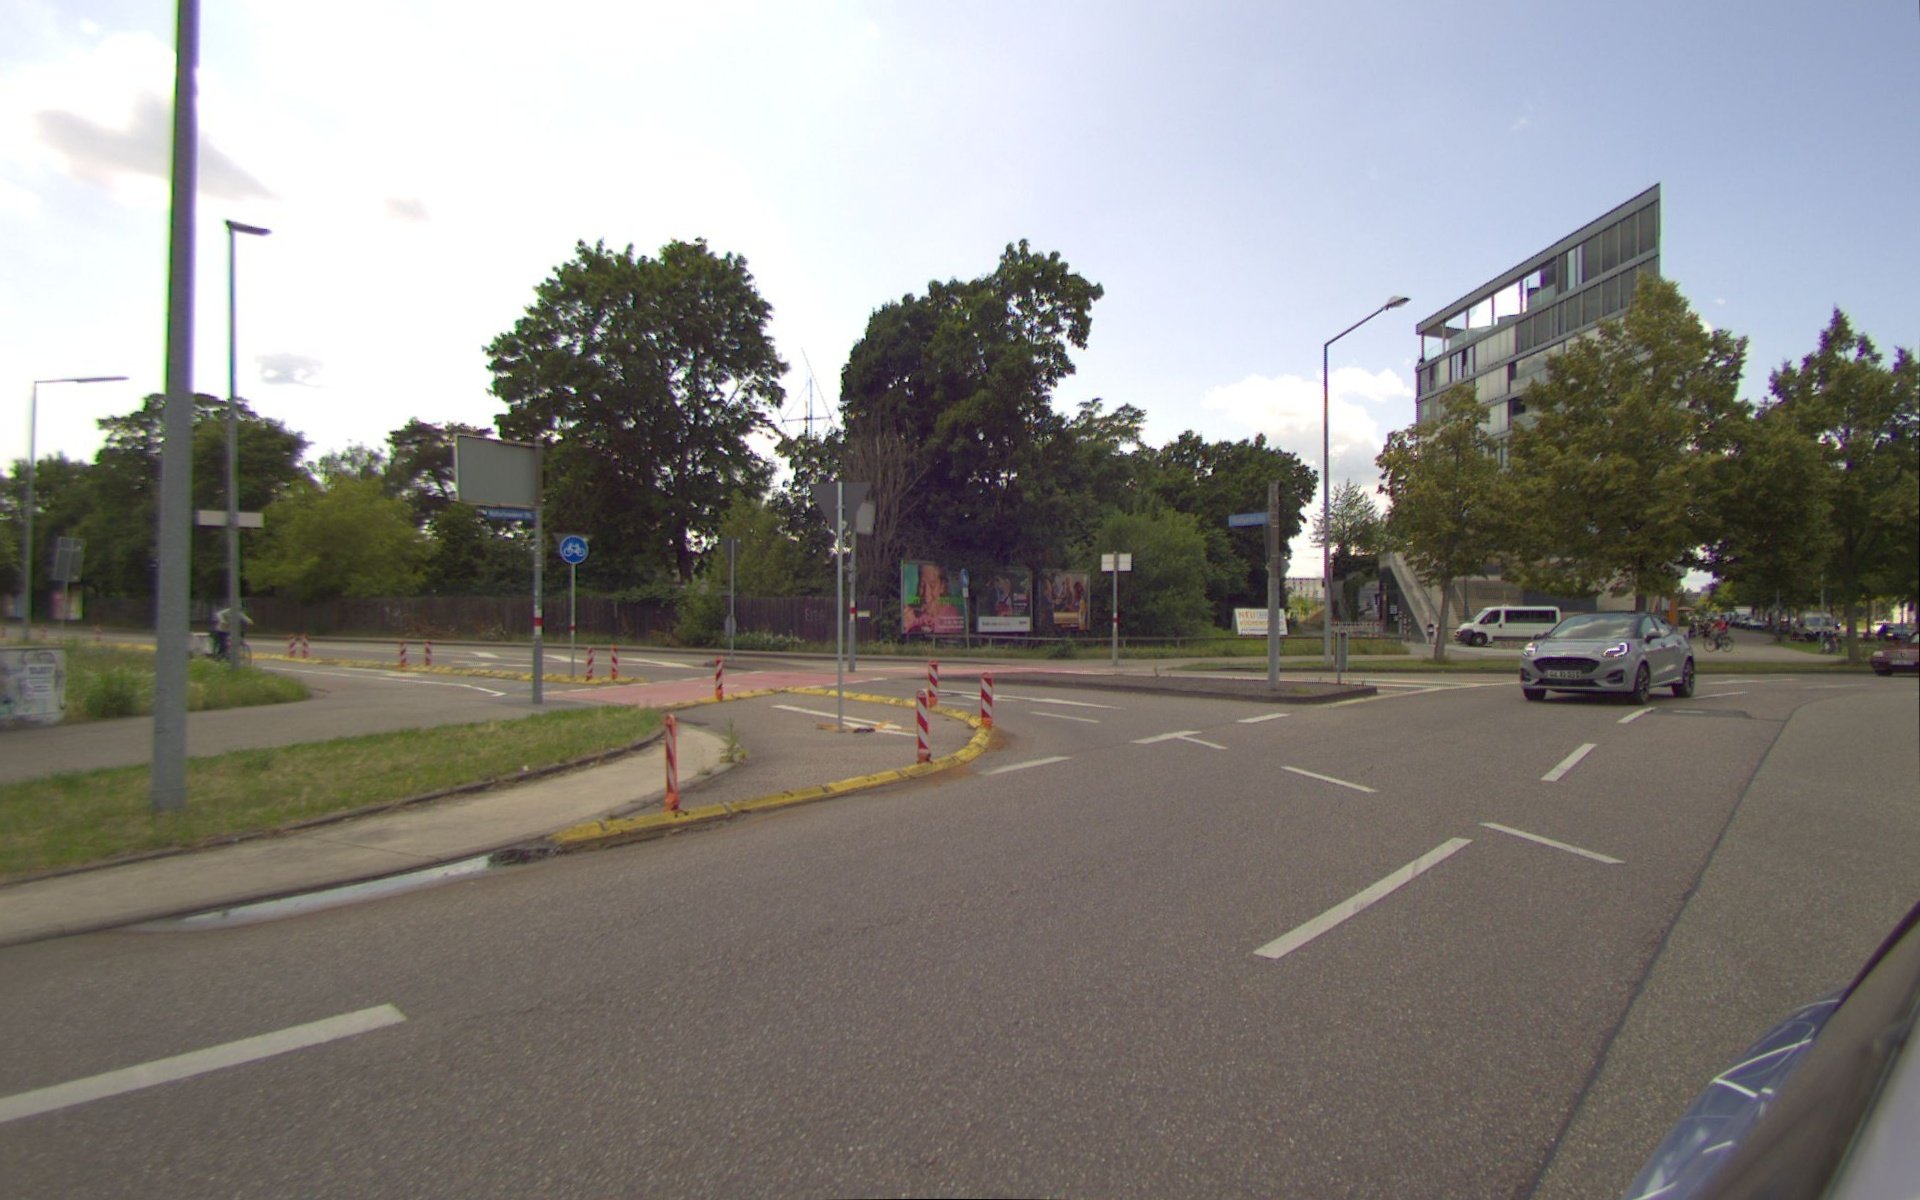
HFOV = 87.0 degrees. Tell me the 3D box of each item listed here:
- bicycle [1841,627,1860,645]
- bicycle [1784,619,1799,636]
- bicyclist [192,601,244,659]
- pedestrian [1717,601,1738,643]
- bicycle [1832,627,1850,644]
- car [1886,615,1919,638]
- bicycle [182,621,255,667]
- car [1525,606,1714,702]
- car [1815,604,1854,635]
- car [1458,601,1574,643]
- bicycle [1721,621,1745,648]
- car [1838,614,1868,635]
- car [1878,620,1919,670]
[{"bbox_3d":[42.651,1.699,48.490,0.355,0.837,1.458,-1,-2,29],"label":"bicycle"},{"bbox_3d":[56.779,1.877,69.115,0.512,1.102,1.729,0,-1,32],"label":"bicycle"},{"bbox_3d":[-17.533,0.714,23.930,0.809,1.342,0.862,-4,-3,43],"label":"bicyclist"},{"bbox_3d":[37.462,1.084,49.407,0.750,2.040,1.216,-1,-2,35],"label":"pedestrian"},{"bbox_3d":[42.617,1.715,48.948,0.355,0.837,1.458,-1,-2,29],"label":"bicycle"},{"bbox_3d":[77.596,2.157,82.981,1.988,1.713,4.238,-3,-2,37],"label":"car"},{"bbox_3d":[-17.517,1.045,23.892,2.532,1.031,0.863,-3,-3,41],"label":"bicycle"},{"bbox_3d":[11.539,0.860,17.615,4.019,1.490,1.673,1,-1,-40],"label":"car"},{"bbox_3d":[72.150,1.565,83.543,2.152,2.425,6.187,-3,-2,39],"label":"car"},{"bbox_3d":[29.844,1.168,54.520,5.080,2.175,2.137,0,-2,17],"label":"car"},{"bbox_3d":[37.499,1.672,49.119,0.807,1.260,2.381,-1,-1,34],"label":"bicycle"},{"bbox_3d":[76.766,2.115,86.985,1.816,1.672,3.940,-3,-3,41],"label":"car"},{"bbox_3d":[26.533,1.204,26.905,4.007,1.278,1.677,1,-3,-25],"label":"car"}]
